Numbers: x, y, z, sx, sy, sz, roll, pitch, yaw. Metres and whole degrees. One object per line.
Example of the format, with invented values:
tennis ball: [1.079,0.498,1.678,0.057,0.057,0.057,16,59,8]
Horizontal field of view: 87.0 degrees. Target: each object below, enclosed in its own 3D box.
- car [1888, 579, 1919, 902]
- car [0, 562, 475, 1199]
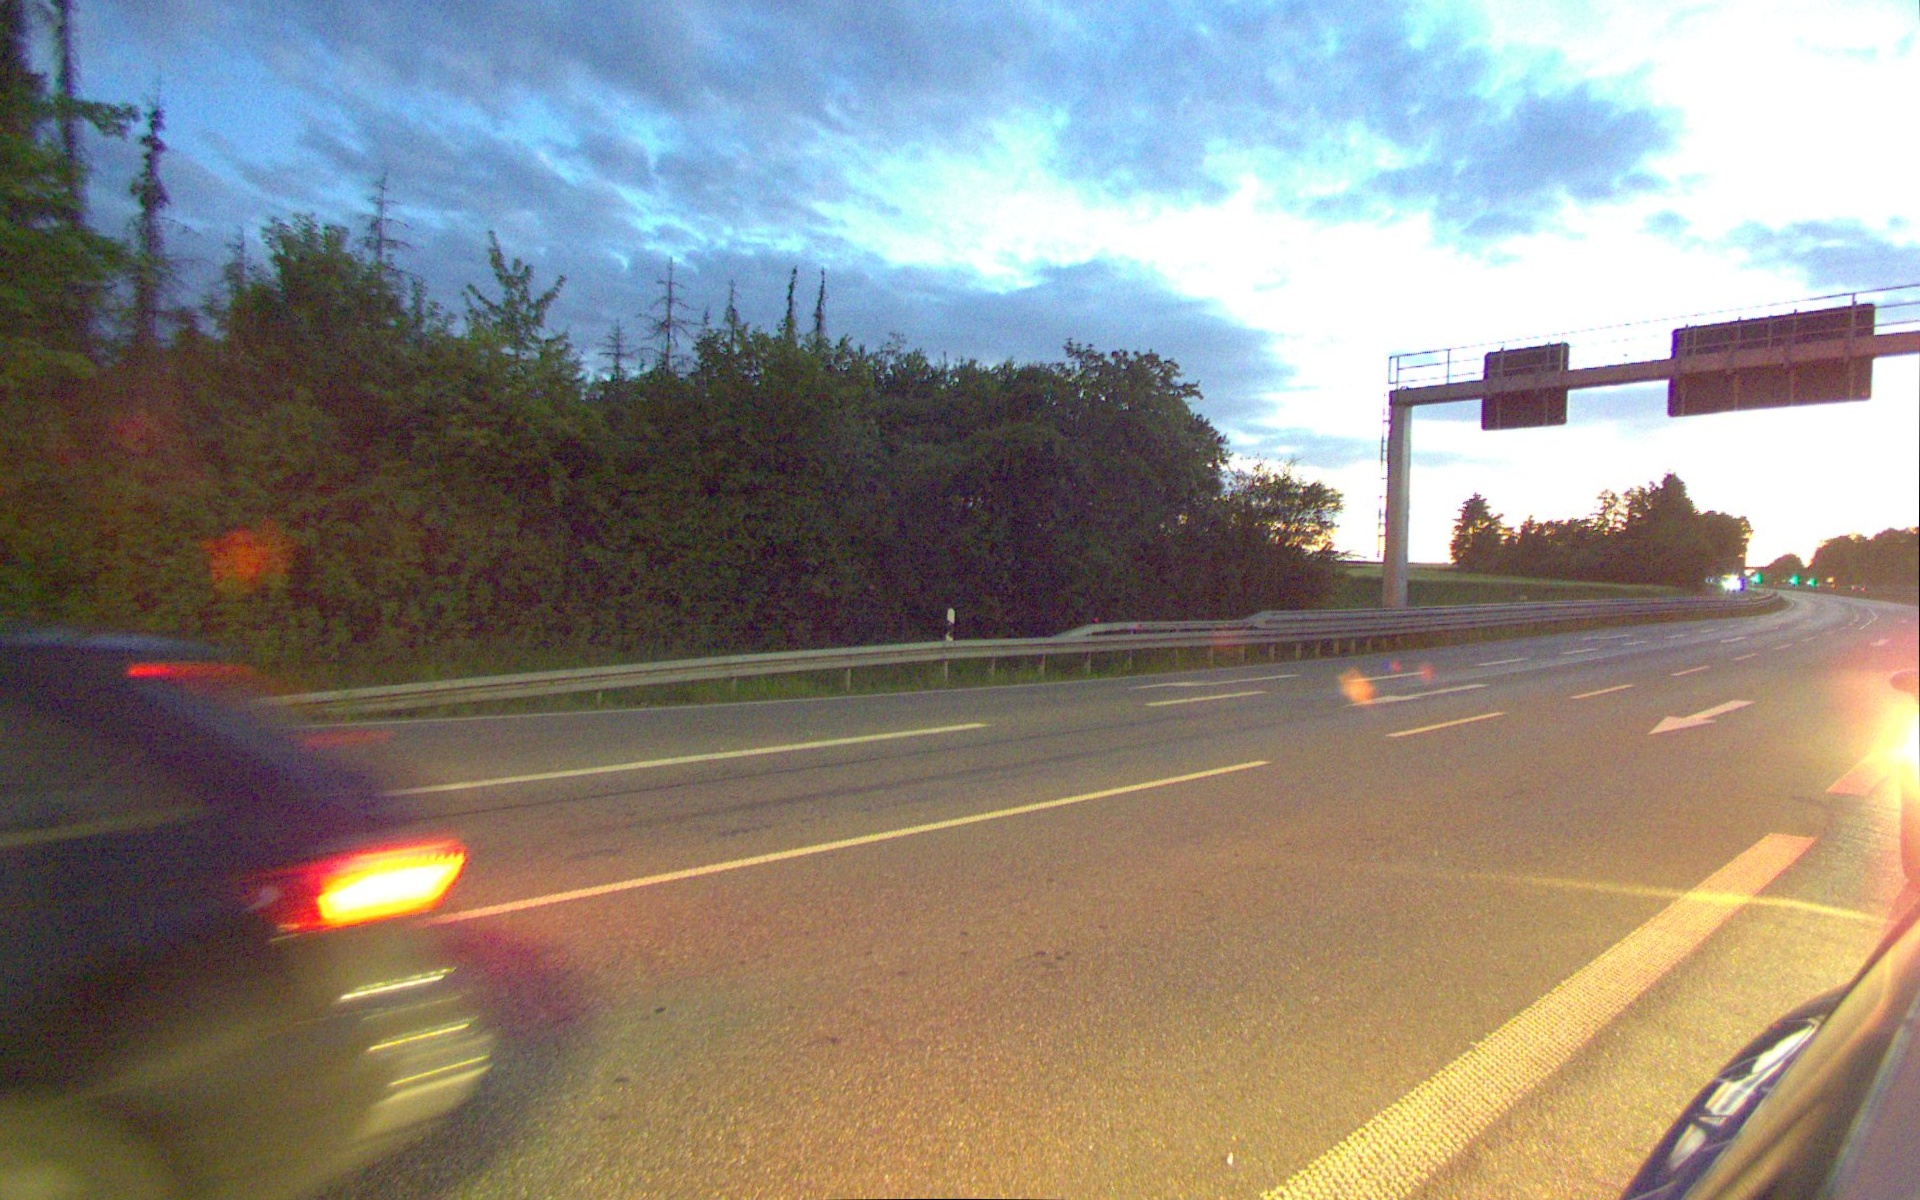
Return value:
car: [6.343,0.650,5.267,3.707,1.499,1.670,0,1,-38]
car: [-3.246,0.675,1.263,4.458,1.462,1.792,0,0,-43]
